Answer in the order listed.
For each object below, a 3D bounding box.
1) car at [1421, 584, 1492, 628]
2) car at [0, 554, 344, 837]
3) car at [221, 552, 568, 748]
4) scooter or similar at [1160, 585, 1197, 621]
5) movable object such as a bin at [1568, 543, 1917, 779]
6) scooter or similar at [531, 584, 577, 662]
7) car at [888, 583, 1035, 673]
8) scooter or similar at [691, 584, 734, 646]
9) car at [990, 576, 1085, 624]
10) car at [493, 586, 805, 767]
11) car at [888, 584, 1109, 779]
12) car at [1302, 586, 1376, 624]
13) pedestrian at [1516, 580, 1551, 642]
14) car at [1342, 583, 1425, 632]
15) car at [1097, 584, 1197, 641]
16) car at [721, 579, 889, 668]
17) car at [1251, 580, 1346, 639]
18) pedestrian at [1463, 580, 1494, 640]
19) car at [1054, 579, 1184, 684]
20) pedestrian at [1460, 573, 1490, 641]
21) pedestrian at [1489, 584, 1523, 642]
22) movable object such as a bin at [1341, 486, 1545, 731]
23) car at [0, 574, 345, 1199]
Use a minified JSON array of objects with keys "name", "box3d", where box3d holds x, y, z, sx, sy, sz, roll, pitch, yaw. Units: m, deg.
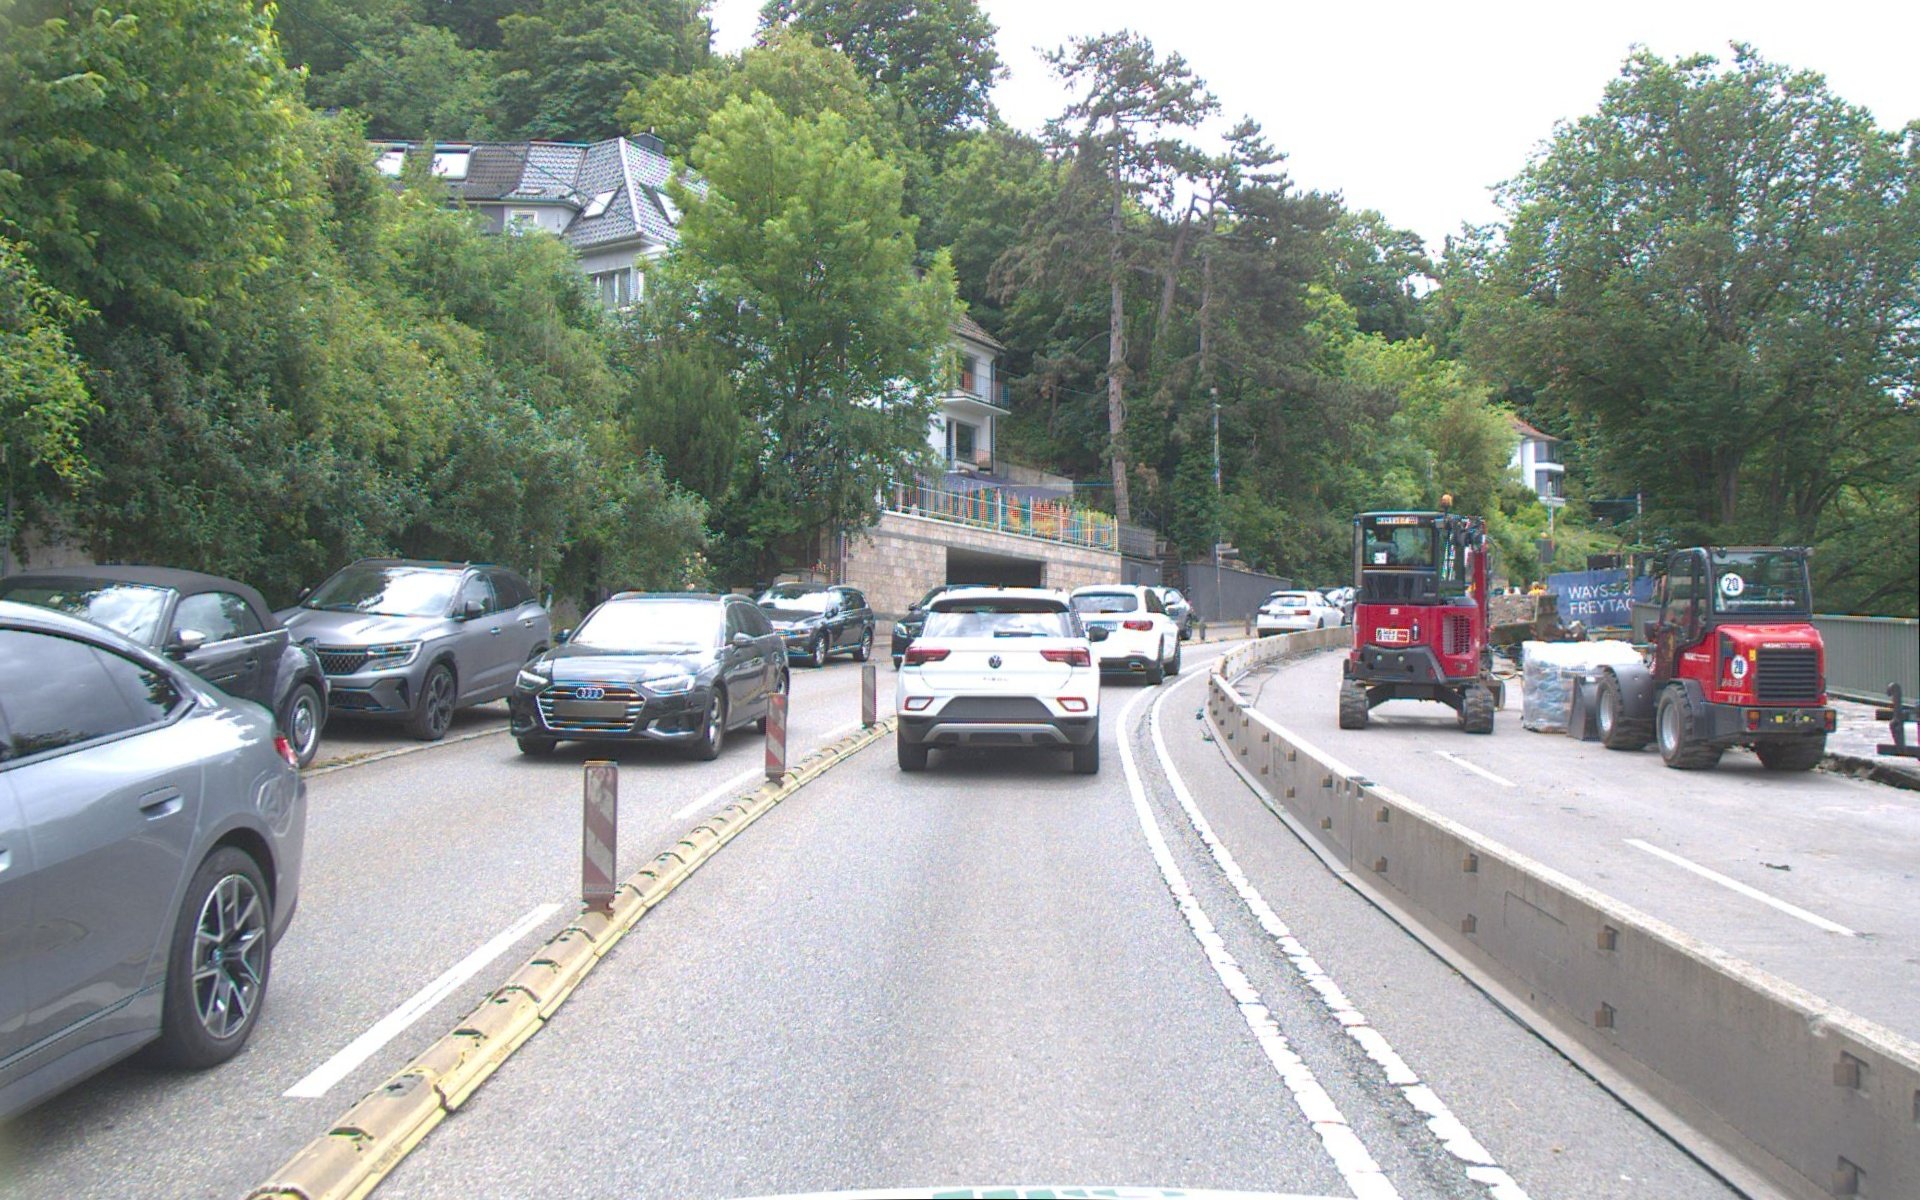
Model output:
[{"name":"car","box3d":[20.175,0.222,67.112,1.777,1.692,3.991,-1,0,31]},{"name":"car","box3d":[-5.887,0.495,11.200,1.757,1.536,4.001,3,0,2]},{"name":"car","box3d":[-5.473,0.432,16.620,1.651,1.634,4.189,3,0,5]},{"name":"scooter or similar","box3d":[7.777,0.113,58.825,1.281,1.277,0.467,0,0,4]},{"name":"movable object such as a bin","box3d":[7.409,0.493,16.130,1.665,1.976,4.167,1,1,4]},{"name":"scooter or similar","box3d":[-6.580,0.362,26.840,0.341,1.234,1.047,3,1,6]},{"name":"car","box3d":[0.109,0.492,32.037,1.730,1.595,4.232,1,1,16]},{"name":"scooter or similar","box3d":[-5.169,0.308,34.611,0.407,1.253,1.122,3,1,17]},{"name":"car","box3d":[2.682,0.012,56.225,1.748,1.478,3.696,1,-1,29]},{"name":"car","box3d":[-2.813,0.621,16.007,1.757,1.471,4.365,1,0,6]},{"name":"car","box3d":[0.487,0.648,15.382,1.771,1.558,4.003,0,0,5]},{"name":"car","box3d":[15.285,0.184,66.583,1.735,1.460,4.300,0,0,30]},{"name":"pedestrian","box3d":[16.080,0.307,46.372,0.769,1.717,0.782,0,0,34]},{"name":"car","box3d":[15.178,0.250,59.133,1.777,1.692,3.991,-1,0,31]},{"name":"car","box3d":[5.427,0.324,47.722,1.732,1.544,4.024,1,1,24]},{"name":"car","box3d":[-2.864,0.409,31.742,1.699,1.476,4.687,3,1,14]},{"name":"car","box3d":[10.185,0.265,49.518,1.775,1.692,3.995,-1,0,27]},{"name":"pedestrian","box3d":[15.153,0.285,48.334,0.857,1.761,0.879,0,0,18]},{"name":"car","box3d":[2.844,0.497,28.879,1.771,1.692,4.004,-1,0,12]},{"name":"pedestrian","box3d":[14.766,0.197,47.404,0.675,1.940,0.826,0,0,6]},{"name":"pedestrian","box3d":[15.598,0.355,47.227,0.769,1.636,0.665,0,0,35]},{"name":"movable object such as a bin","box3d":[5.959,0.064,20.931,2.164,2.709,4.949,1,1,13]},{"name":"car","box3d":[-3.117,0.670,3.742,1.759,1.508,4.328,2,0,0]}]
